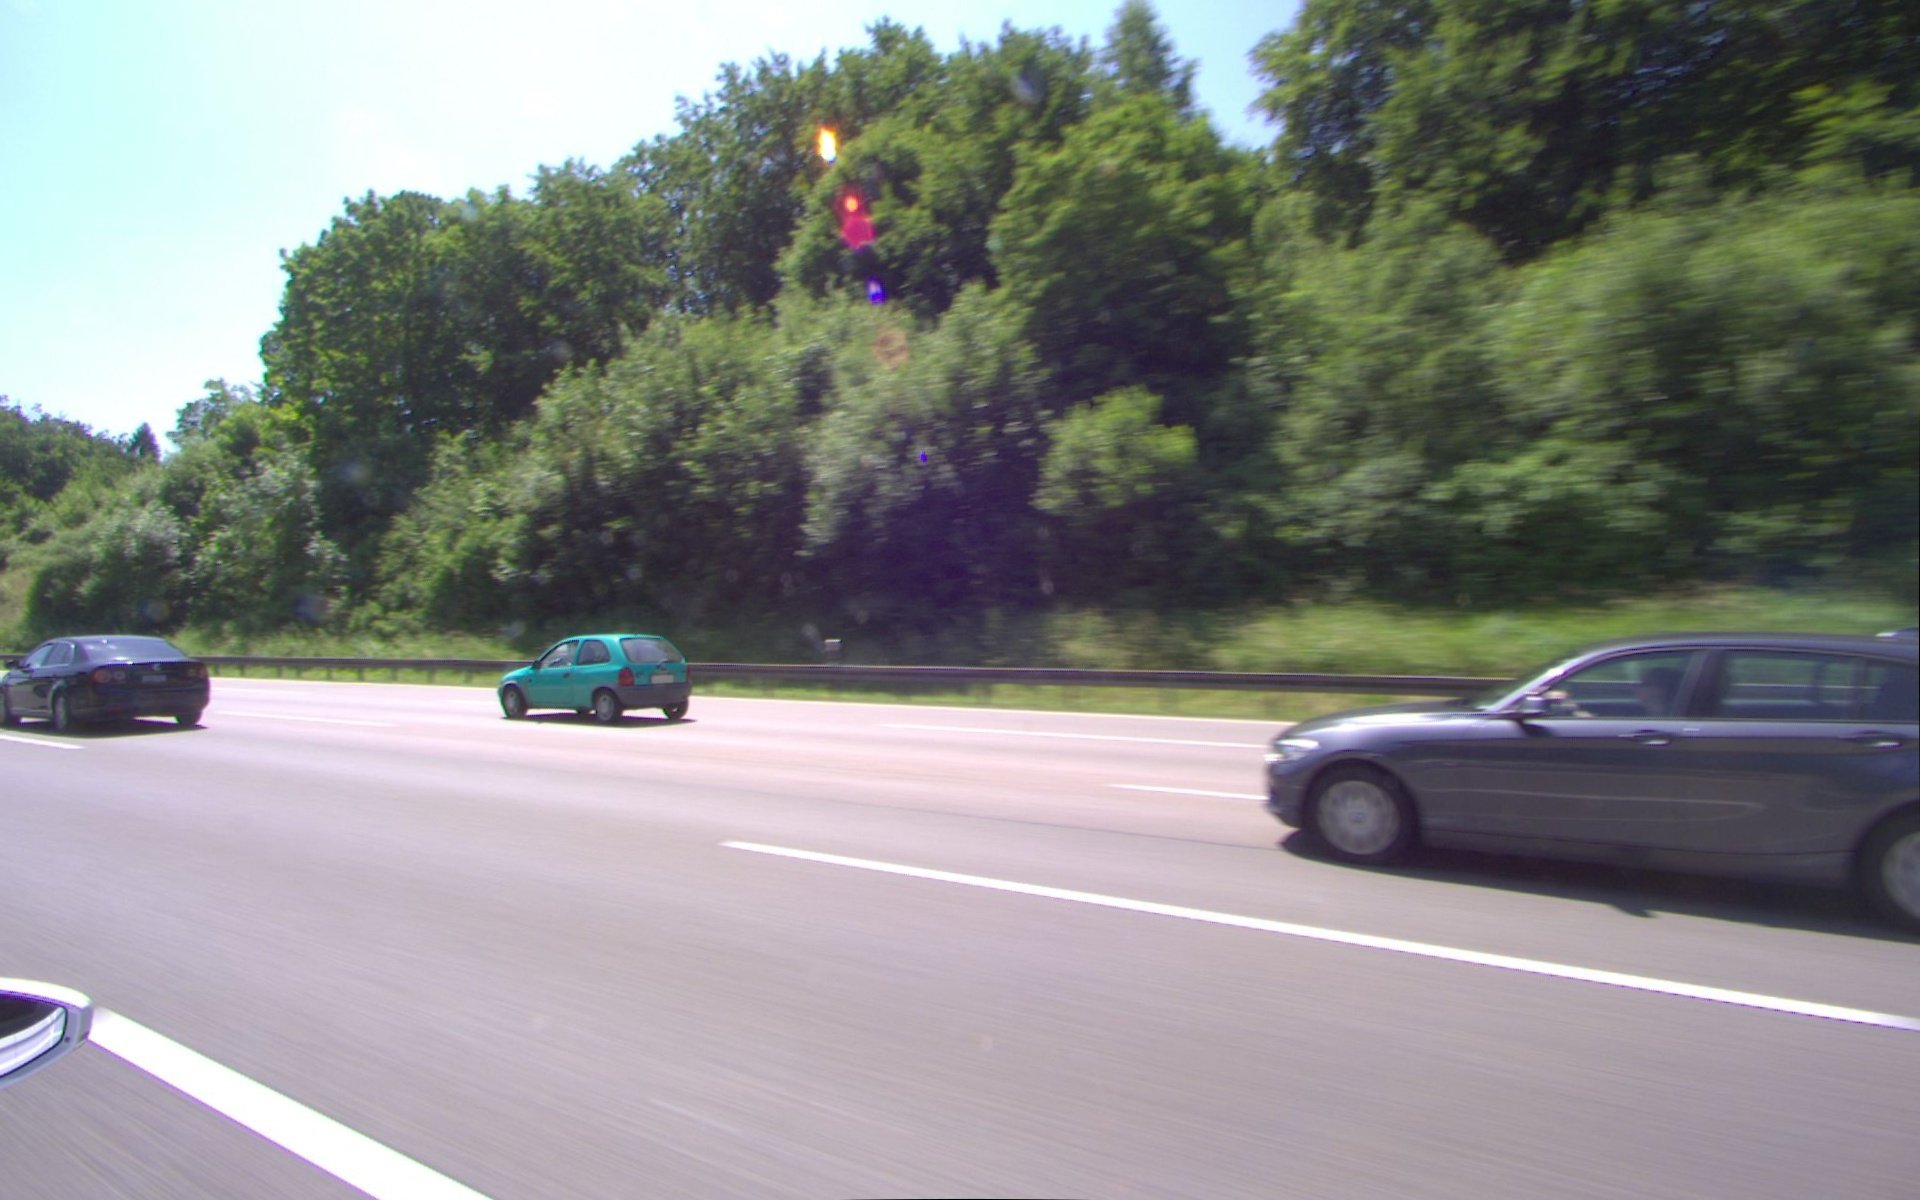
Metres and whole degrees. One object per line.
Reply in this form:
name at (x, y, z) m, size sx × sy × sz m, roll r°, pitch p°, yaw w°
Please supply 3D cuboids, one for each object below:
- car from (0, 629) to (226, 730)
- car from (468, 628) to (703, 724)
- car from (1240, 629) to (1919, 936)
car at (-13.921, 1.187, 16.170) m, size 4.832 × 1.426 × 1.663 m, roll -1°, pitch -2°, yaw 32°
car at (-6.483, 1.222, 17.160) m, size 4.280 × 1.462 × 1.542 m, roll -1°, pitch -2°, yaw 33°
car at (3.967, 0.888, 5.996) m, size 4.097 × 1.414 × 1.698 m, roll -1°, pitch -2°, yaw 34°
